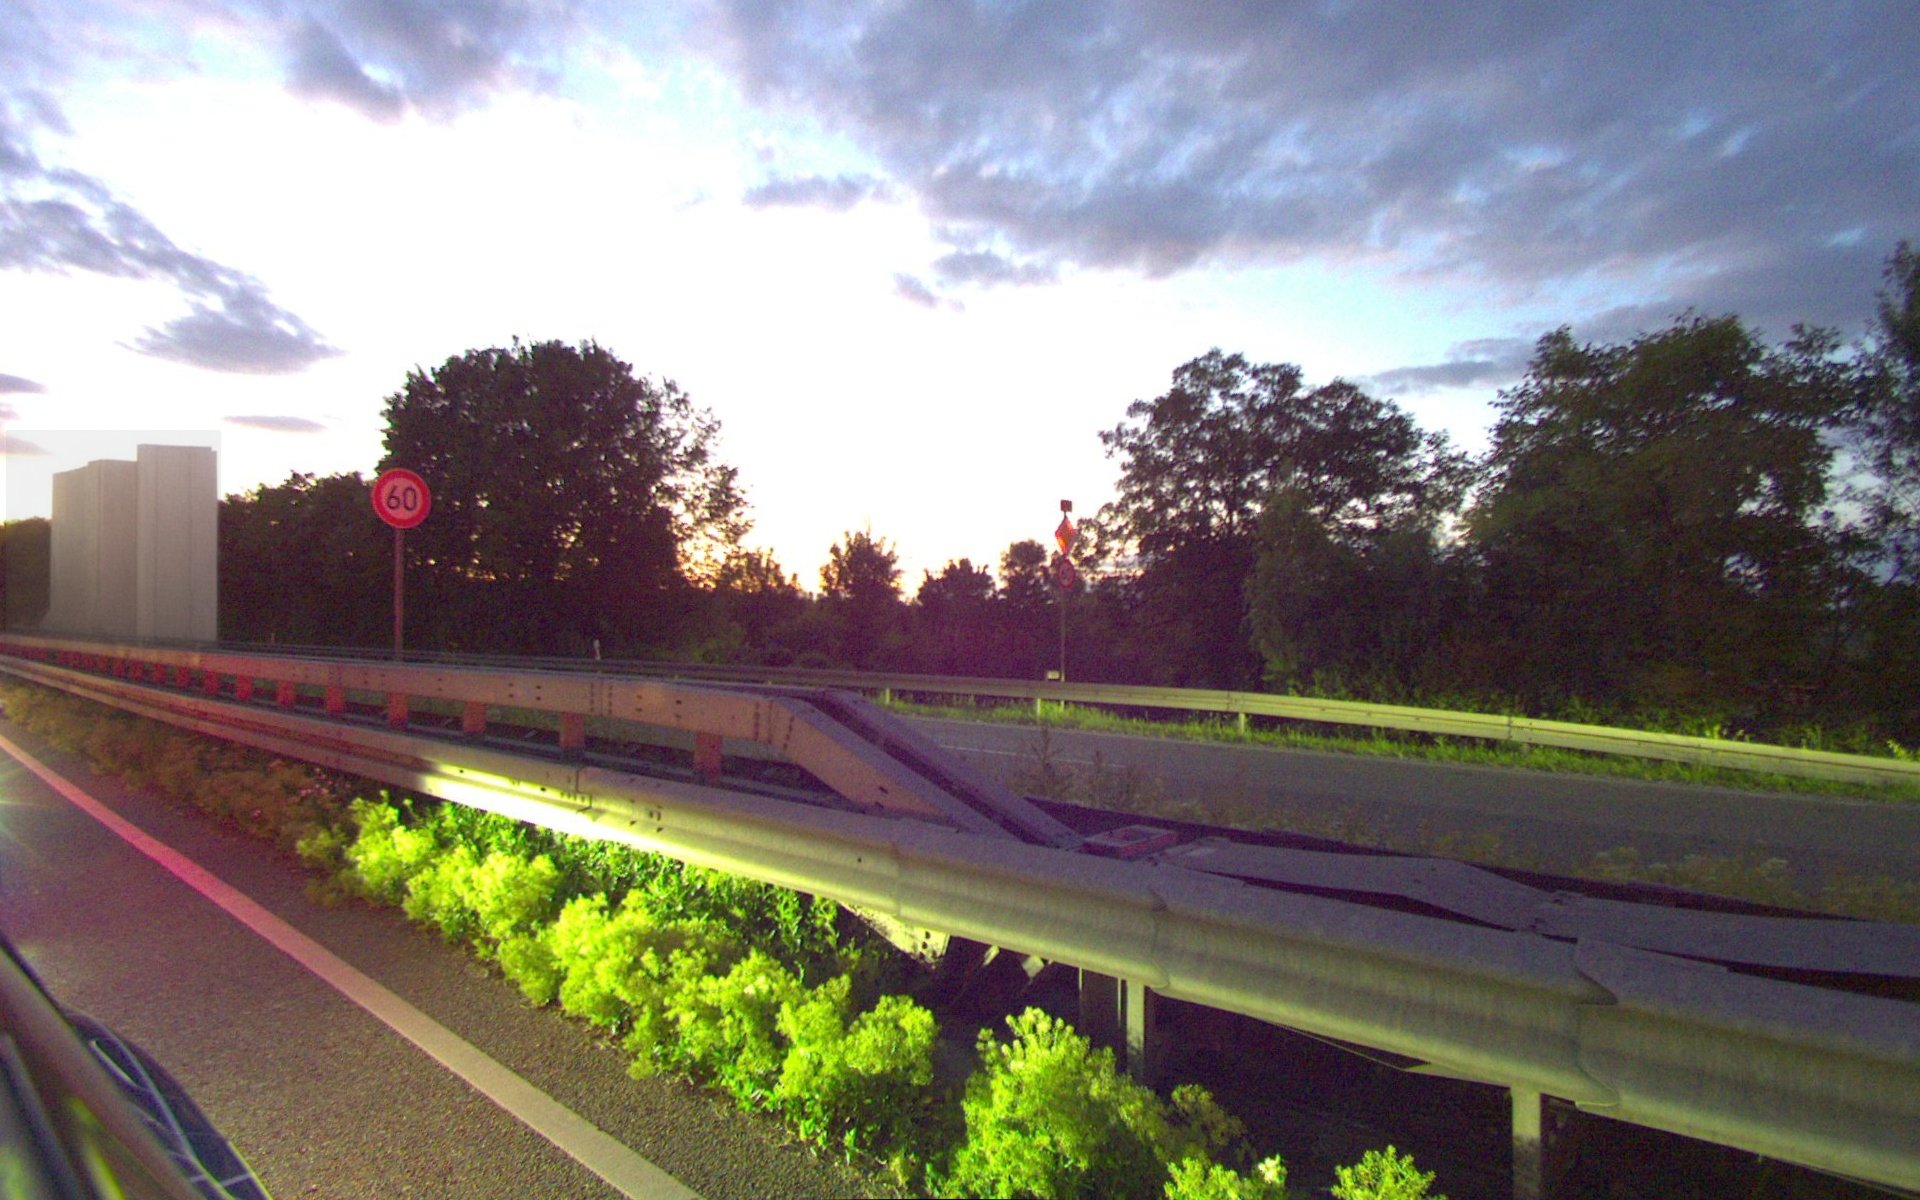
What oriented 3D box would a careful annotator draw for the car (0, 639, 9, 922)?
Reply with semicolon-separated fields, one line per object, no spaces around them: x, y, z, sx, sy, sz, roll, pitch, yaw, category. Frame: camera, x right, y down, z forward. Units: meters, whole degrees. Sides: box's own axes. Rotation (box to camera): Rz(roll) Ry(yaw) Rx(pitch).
-6.698;0.837;5.537;4.645;1.447;1.795;-2;0;42;car

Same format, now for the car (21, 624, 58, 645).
-74.475;2.777;81.843;3.998;1.572;1.758;-1;0;41;car
